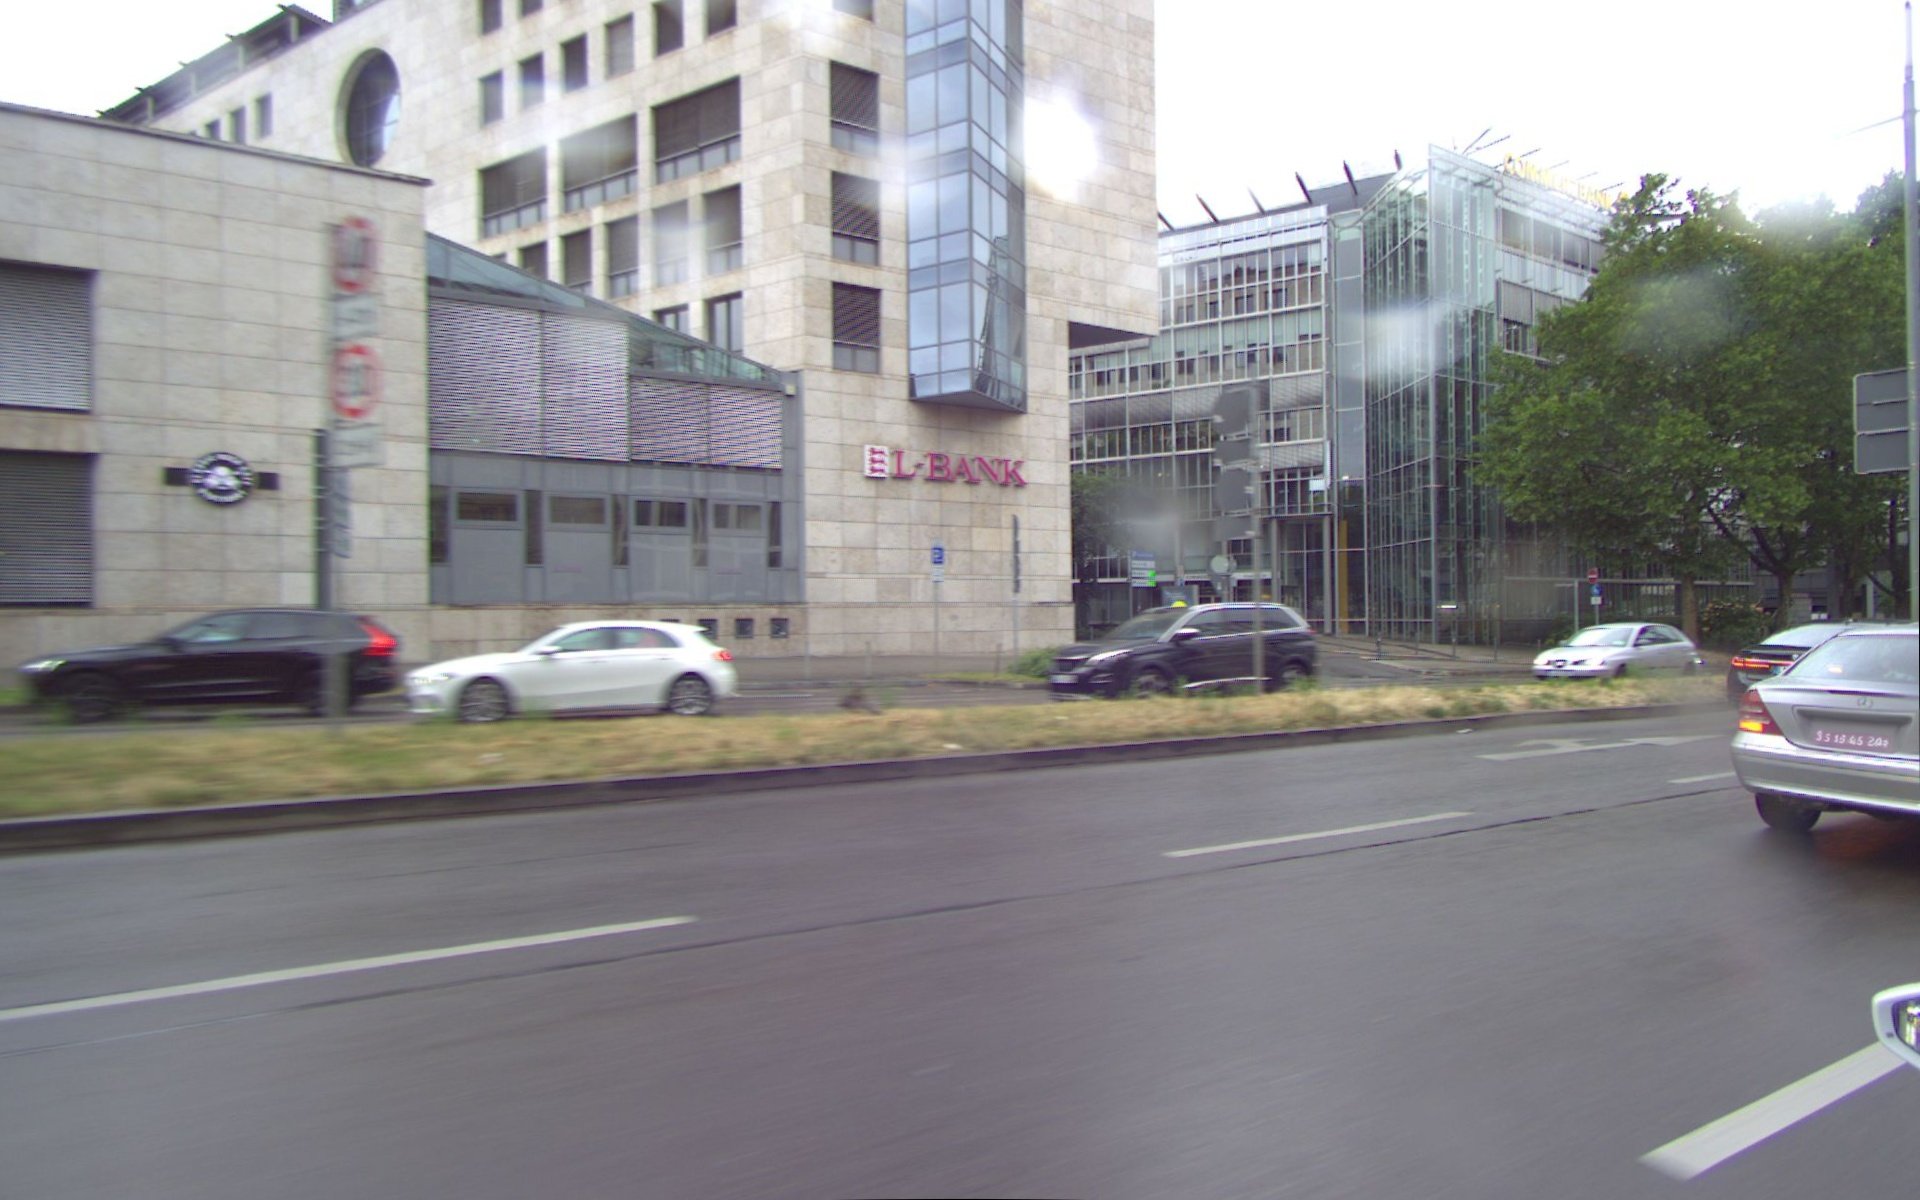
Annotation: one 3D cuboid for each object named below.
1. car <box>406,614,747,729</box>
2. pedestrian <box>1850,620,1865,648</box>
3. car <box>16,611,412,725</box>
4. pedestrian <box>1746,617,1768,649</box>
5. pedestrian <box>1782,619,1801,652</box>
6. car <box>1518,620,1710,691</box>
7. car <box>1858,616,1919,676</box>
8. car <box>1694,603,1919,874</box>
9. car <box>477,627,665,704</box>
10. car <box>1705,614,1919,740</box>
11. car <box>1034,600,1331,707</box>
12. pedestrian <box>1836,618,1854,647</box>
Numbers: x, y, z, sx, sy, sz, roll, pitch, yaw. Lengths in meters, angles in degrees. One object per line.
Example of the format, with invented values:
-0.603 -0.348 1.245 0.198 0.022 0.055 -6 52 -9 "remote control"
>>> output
-5.440 0.978 14.502 4.337 1.451 1.721 1 -2 -26 "car"
56.885 2.152 63.640 0.505 1.708 0.557 0 0 -29 "pedestrian"
-11.098 0.994 15.414 4.578 1.552 1.721 1 -2 -26 "car"
45.909 1.915 57.867 0.792 1.832 0.731 0 0 -29 "pedestrian"
46.541 1.993 56.248 0.750 1.832 0.594 0 0 -29 "pedestrian"
13.673 1.134 20.968 4.064 1.378 1.591 1 -2 -27 "car"
29.053 1.372 30.080 4.624 1.702 1.866 2 -2 -29 "car"
7.071 0.834 6.891 4.308 1.498 1.665 2 -1 -30 "car"
-7.750 1.269 20.086 3.354 1.434 1.588 1 -2 -25 "car"
12.584 0.954 13.959 4.820 1.498 1.863 1 -1 -30 "car"
3.497 0.805 15.531 4.526 1.456 1.693 2 -2 -29 "car"
56.493 2.098 64.106 0.610 1.832 0.719 0 0 -29 "pedestrian"
